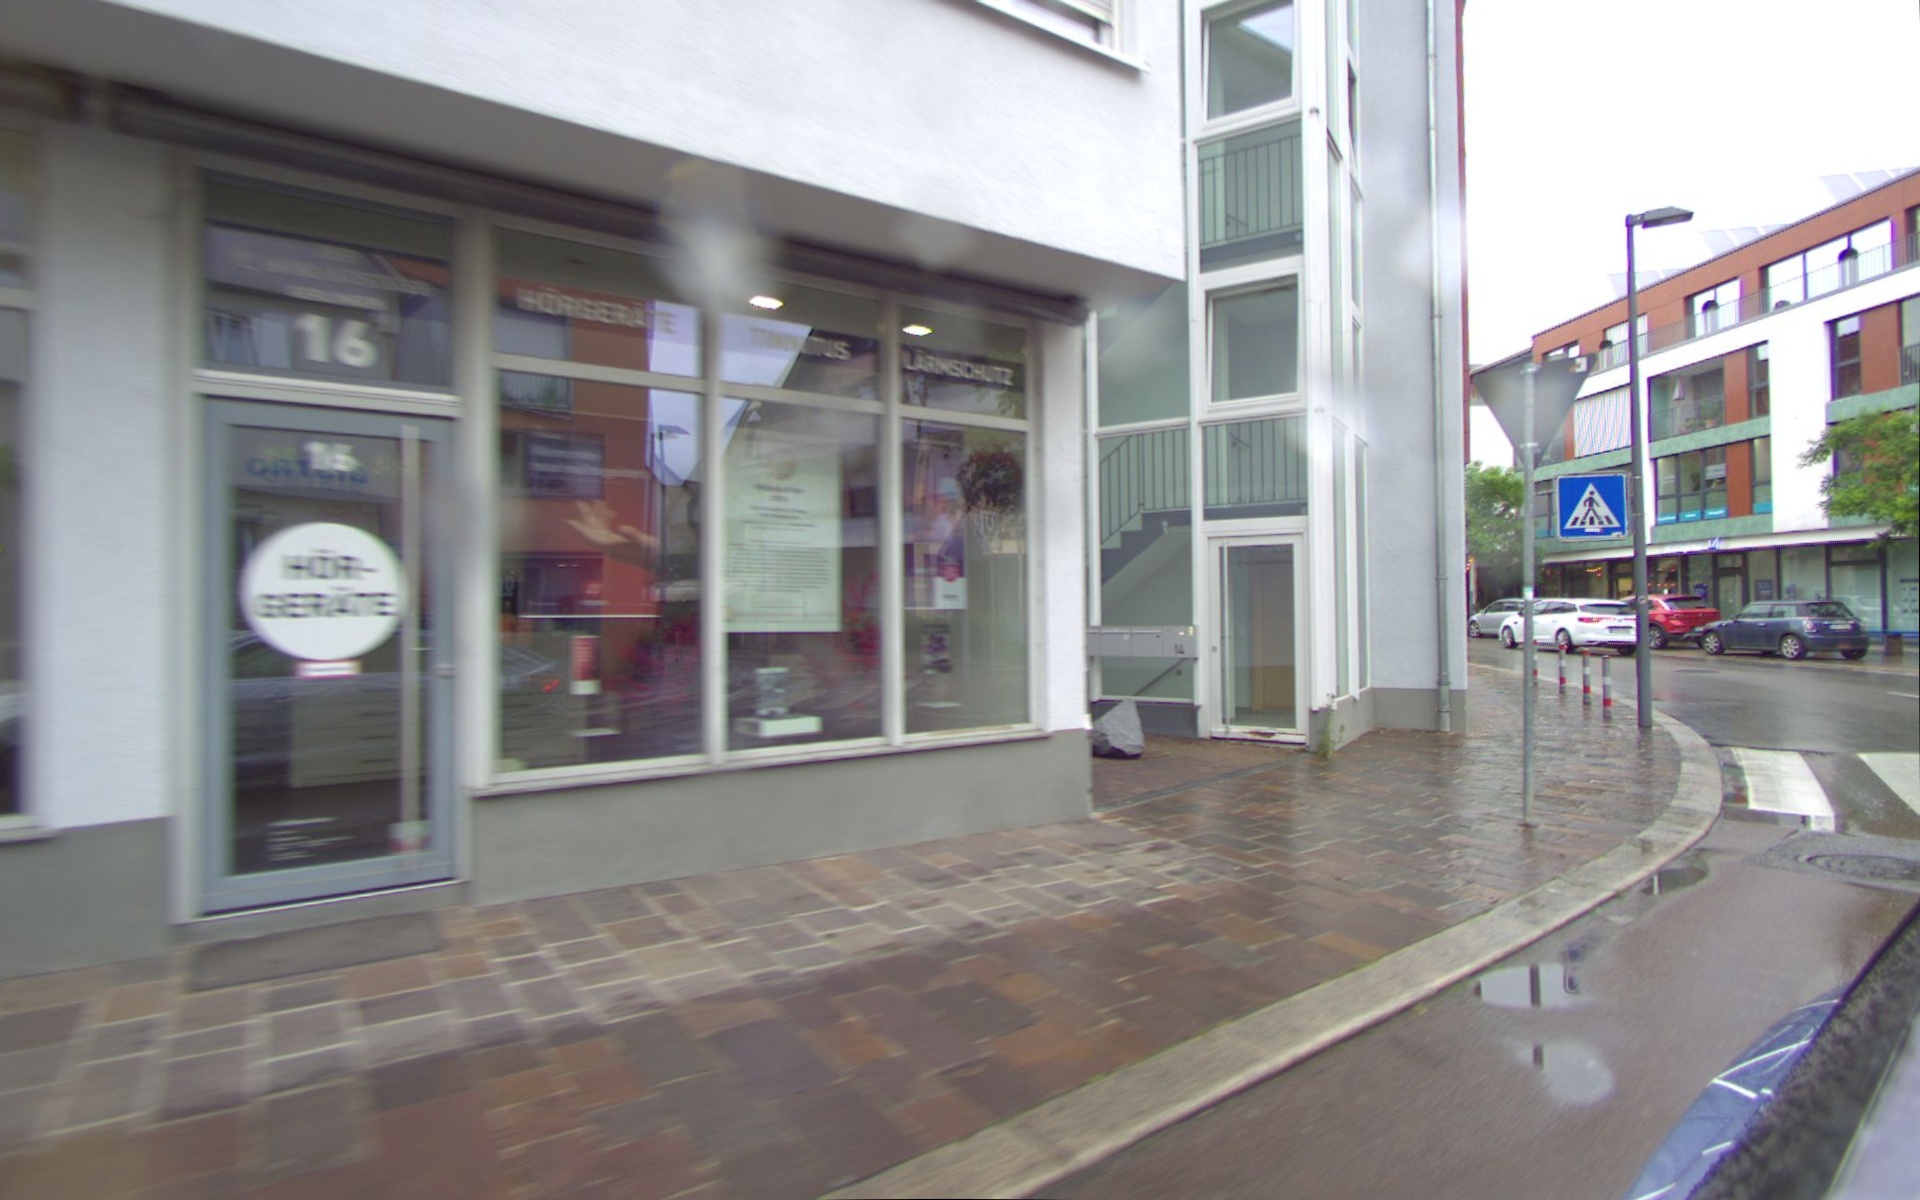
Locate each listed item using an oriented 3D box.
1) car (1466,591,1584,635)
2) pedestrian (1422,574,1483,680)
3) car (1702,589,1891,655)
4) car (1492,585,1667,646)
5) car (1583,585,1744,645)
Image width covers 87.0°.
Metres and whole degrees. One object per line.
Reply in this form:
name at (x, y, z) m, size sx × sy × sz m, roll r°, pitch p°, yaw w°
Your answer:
car at (19.995, 0.432, 36.005) m, size 1.692 × 1.412 × 3.865 m, roll -2°, pitch 0°, yaw -5°
pedestrian at (8.822, 0.465, 18.176) m, size 0.812 × 1.829 × 1.139 m, roll -2°, pitch -1°, yaw 20°
car at (20.450, 0.498, 24.943) m, size 1.648 × 1.454 × 3.584 m, roll -2°, pitch 0°, yaw 1°
car at (16.739, 0.389, 27.699) m, size 1.889 × 1.510 × 4.861 m, roll -1°, pitch 0°, yaw 2°
car at (20.551, 0.418, 29.791) m, size 1.768 × 1.574 × 3.923 m, roll -2°, pitch 0°, yaw -3°
